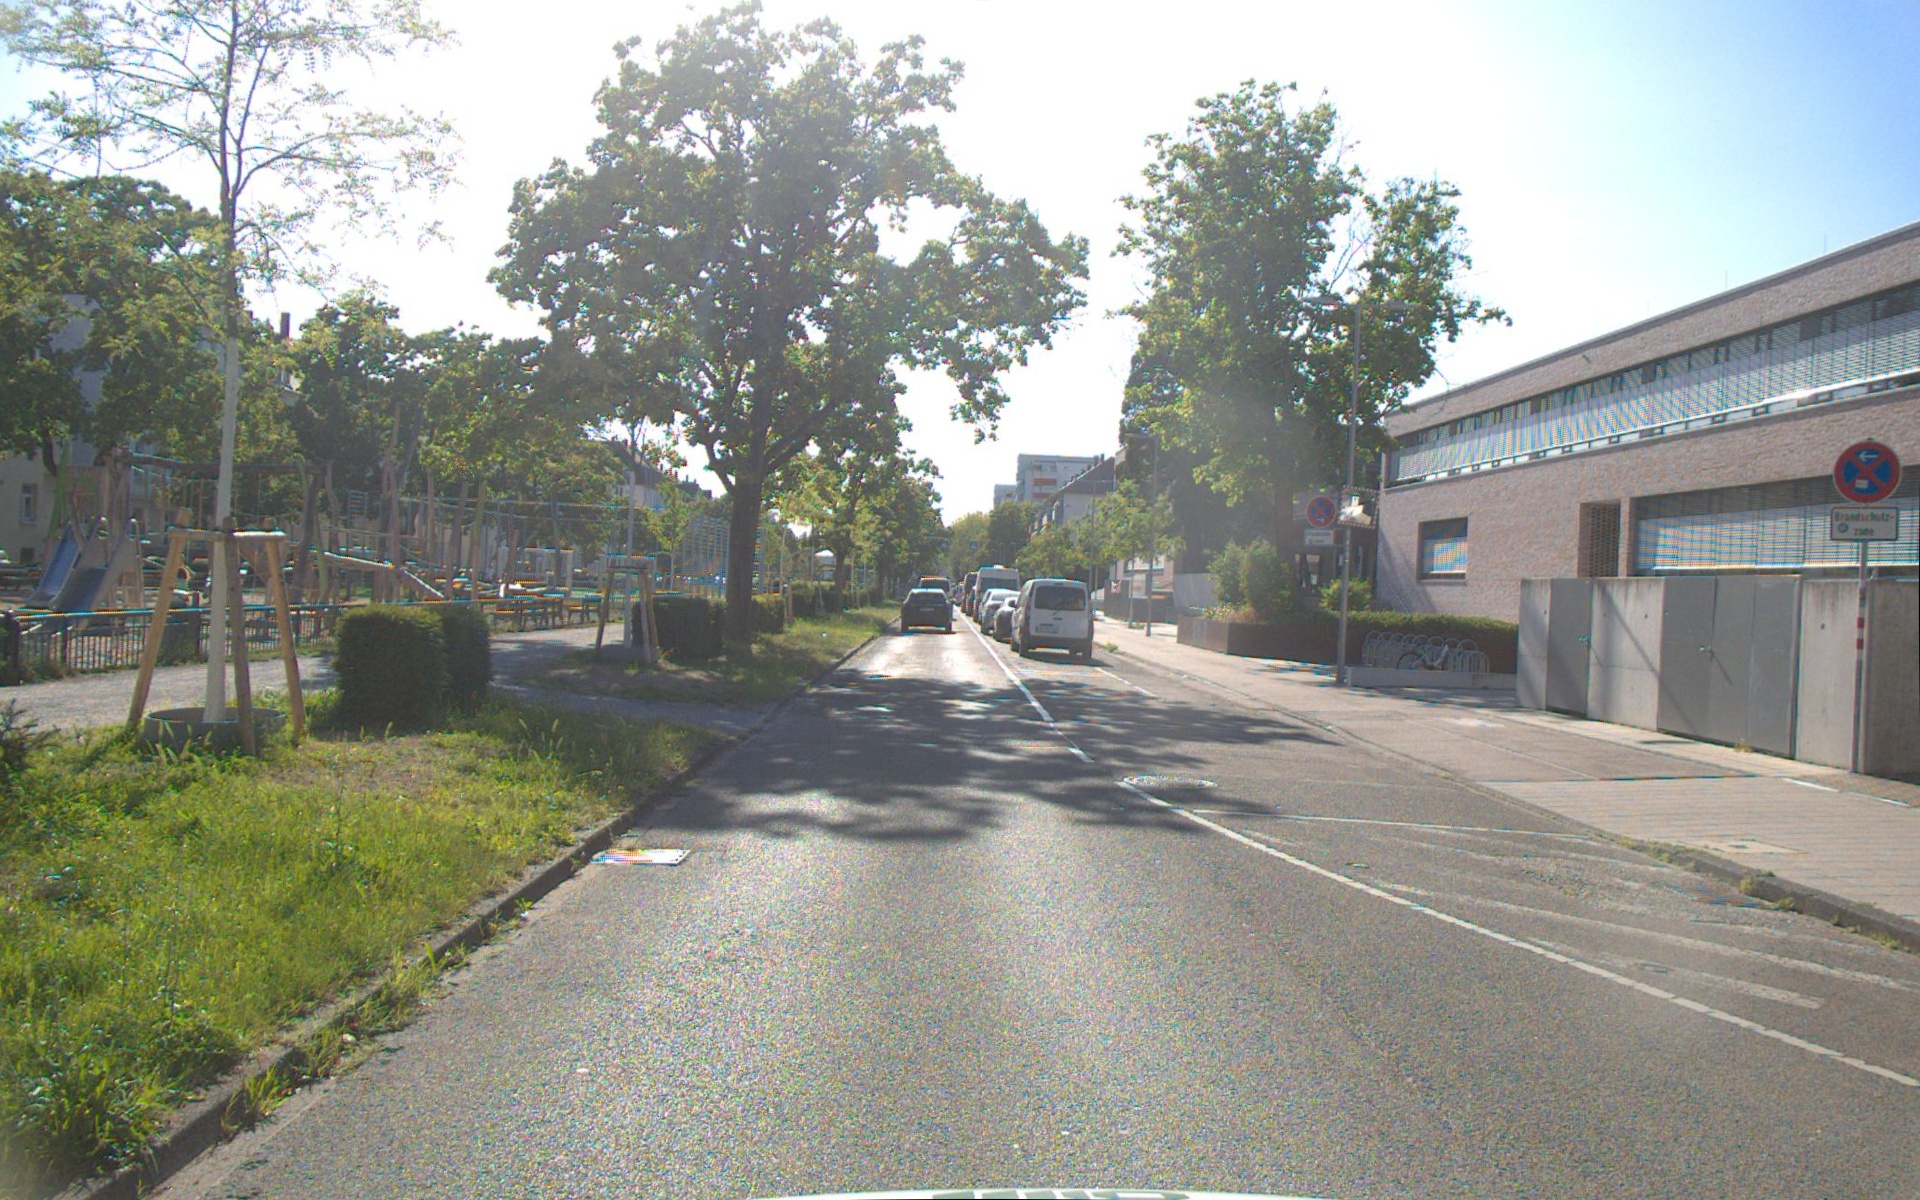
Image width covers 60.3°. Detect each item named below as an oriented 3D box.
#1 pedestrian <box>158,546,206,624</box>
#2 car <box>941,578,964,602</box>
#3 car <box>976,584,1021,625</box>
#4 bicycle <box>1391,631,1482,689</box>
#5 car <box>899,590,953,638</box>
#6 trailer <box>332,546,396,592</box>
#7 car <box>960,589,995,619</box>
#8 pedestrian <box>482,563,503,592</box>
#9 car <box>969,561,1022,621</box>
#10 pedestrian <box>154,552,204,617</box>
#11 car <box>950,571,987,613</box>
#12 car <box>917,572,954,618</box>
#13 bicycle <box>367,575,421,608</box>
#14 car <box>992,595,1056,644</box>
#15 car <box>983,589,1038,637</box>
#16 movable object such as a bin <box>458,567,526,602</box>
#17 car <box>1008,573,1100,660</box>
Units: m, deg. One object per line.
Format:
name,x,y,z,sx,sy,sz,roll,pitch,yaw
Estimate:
pedestrian,-17.206,-0.333,36.606,0.634,1.690,0.650,2,0,17
car,-0.620,-0.857,140.633,1.757,1.887,4.414,2,1,1
car,1.596,0.162,70.004,1.587,1.616,3.590,2,1,-3
bicycle,9.600,1.210,33.342,1.635,1.047,0.500,4,0,-3
car,-1.158,0.462,58.074,1.758,1.536,4.000,2,0,0
trailer,-40.691,-2.088,113.024,2.296,2.920,5.801,2,0,-2
car,0.982,0.211,94.840,1.809,1.669,4.502,2,0,-2
pedestrian,-21.737,-1.054,76.947,0.636,1.341,0.649,2,0,28
car,1.621,-0.427,77.475,2.195,2.619,5.432,3,0,-1
pedestrian,-16.600,-0.327,35.159,0.634,1.352,0.650,2,0,17
car,0.518,-0.499,107.173,2.073,2.559,6.529,2,0,-2
car,-1.203,-0.254,82.329,1.758,2.159,4.000,2,0,0
bicycle,-20.807,-0.315,60.833,1.758,1.127,0.500,2,0,-3
car,1.935,0.584,50.860,1.667,1.348,4.128,3,0,-1
car,1.720,0.421,57.107,1.667,1.504,4.173,3,0,-1
movable object such as a bin,-17.737,-0.604,62.678,2.285,1.263,1.055,1,1,-5
car,2.253,0.362,40.714,1.772,1.941,4.459,3,0,-2
